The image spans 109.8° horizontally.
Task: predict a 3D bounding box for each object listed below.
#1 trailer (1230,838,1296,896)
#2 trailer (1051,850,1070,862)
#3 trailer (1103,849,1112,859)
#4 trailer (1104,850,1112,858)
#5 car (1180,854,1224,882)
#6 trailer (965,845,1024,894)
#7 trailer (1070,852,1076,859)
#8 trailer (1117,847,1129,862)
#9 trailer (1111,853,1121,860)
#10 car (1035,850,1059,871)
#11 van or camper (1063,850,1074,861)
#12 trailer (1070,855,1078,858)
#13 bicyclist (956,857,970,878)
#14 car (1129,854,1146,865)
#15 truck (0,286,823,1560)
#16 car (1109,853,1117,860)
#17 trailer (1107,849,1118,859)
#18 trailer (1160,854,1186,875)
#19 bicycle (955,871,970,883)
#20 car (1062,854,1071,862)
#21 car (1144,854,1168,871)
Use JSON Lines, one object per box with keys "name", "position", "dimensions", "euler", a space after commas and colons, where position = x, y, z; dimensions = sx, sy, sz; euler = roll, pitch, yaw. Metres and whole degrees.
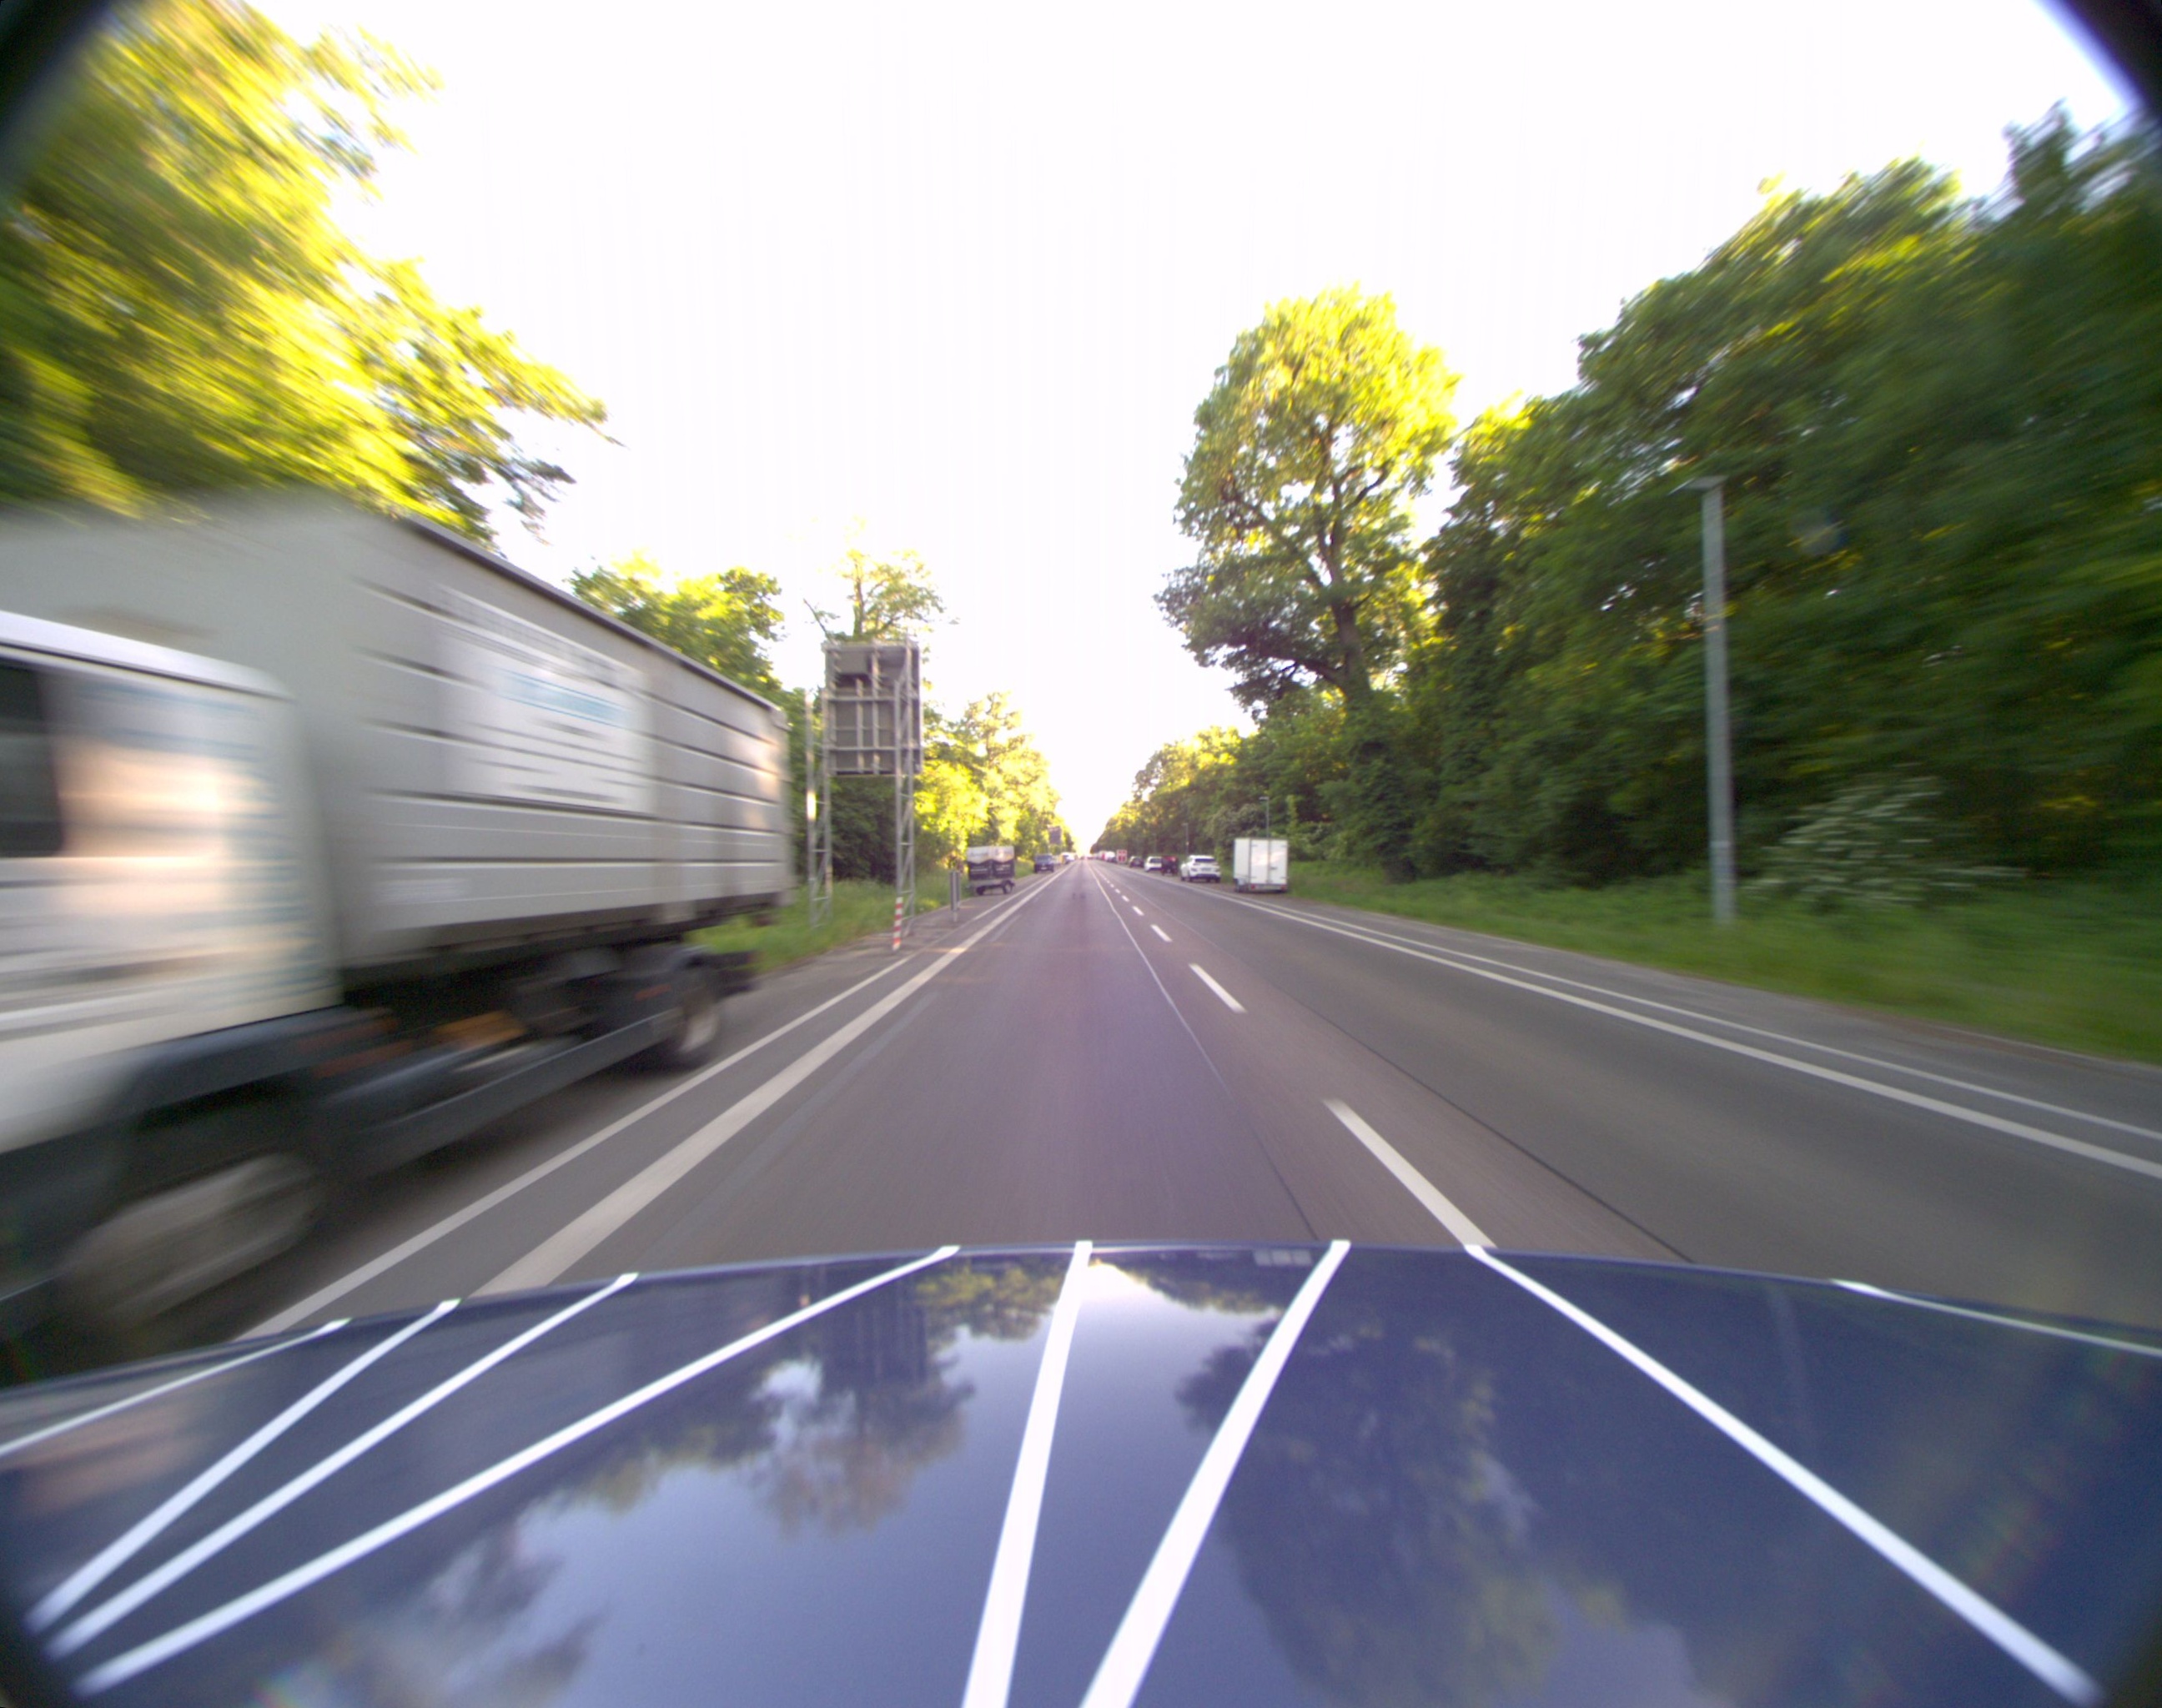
{"name": "trailer", "position": [7.558, 0.505, 31.866], "dimensions": [2.080, 2.280, 3.487], "euler": [0, 0, 2]}
{"name": "trailer", "position": [-3.435, 0.314, 128.581], "dimensions": [1.964, 2.011, 3.849], "euler": [-1, 0, 20]}
{"name": "trailer", "position": [7.365, 0.000, 209.125], "dimensions": [2.072, 2.466, 3.560], "euler": [-1, 0, -3]}
{"name": "trailer", "position": [7.863, 0.072, 224.698], "dimensions": [2.072, 2.466, 3.560], "euler": [-1, 0, -3]}
{"name": "car", "position": [7.148, 0.772, 45.257], "dimensions": [1.819, 1.562, 4.206], "euler": [1, 0, -2]}
{"name": "trailer", "position": [-3.838, 0.677, 34.068], "dimensions": [1.616, 2.100, 2.399], "euler": [-2, 0, 21]}
{"name": "trailer", "position": [-2.614, 0.423, 245.421], "dimensions": [1.759, 2.149, 3.539], "euler": [-1, 0, -1]}
{"name": "trailer", "position": [7.659, 0.057, 139.155], "dimensions": [1.998, 2.606, 4.085], "euler": [-1, 0, 0]}
{"name": "trailer", "position": [7.723, 0.603, 168.179], "dimensions": [1.846, 1.457, 4.466], "euler": [-1, 0, 0]}
{"name": "car", "position": [-3.458, 0.656, 78.340], "dimensions": [2.119, 2.002, 5.039], "euler": [-3, 0, 1]}
{"name": "van or camper", "position": [-2.913, 0.317, 176.181], "dimensions": [2.131, 2.468, 6.305], "euler": [-1, 0, 1]}
{"name": "trailer", "position": [-2.070, 0.620, 231.329], "dimensions": [2.439, 0.794, 5.659], "euler": [-2, 0, 0]}
{"name": "bicyclist", "position": [-7.360, 0.833, 47.343], "dimensions": [0.612, 1.317, 1.175], "euler": [-2, 0, 0]}
{"name": "car", "position": [7.438, 0.687, 99.593], "dimensions": [1.859, 1.456, 4.784], "euler": [-1, 0, 0]}
{"name": "truck", "position": [-4.063, 0.173, 4.363], "dimensions": [2.511, 3.347, 7.107], "euler": [-2, 1, 1]}
{"name": "car", "position": [7.566, 0.517, 181.251], "dimensions": [1.675, 1.486, 4.194], "euler": [2, 1, 0]}
{"name": "trailer", "position": [7.830, 0.069, 187.685], "dimensions": [2.352, 2.514, 4.343], "euler": [-1, 0, -3]}
{"name": "trailer", "position": [7.278, 0.811, 60.001], "dimensions": [1.397, 1.565, 2.678], "euler": [-1, 0, 20]}
{"name": "bicycle", "position": [-7.381, 1.437, 47.275], "dimensions": [0.592, 0.688, 1.996], "euler": [-2, 0, 0]}
{"name": "car", "position": [-2.864, 0.761, 150.772], "dimensions": [1.590, 1.521, 3.011], "euler": [-3, 0, 0]}
{"name": "car", "position": [7.215, 0.797, 73.115], "dimensions": [1.871, 1.442, 4.071], "euler": [2, 0, 0]}
